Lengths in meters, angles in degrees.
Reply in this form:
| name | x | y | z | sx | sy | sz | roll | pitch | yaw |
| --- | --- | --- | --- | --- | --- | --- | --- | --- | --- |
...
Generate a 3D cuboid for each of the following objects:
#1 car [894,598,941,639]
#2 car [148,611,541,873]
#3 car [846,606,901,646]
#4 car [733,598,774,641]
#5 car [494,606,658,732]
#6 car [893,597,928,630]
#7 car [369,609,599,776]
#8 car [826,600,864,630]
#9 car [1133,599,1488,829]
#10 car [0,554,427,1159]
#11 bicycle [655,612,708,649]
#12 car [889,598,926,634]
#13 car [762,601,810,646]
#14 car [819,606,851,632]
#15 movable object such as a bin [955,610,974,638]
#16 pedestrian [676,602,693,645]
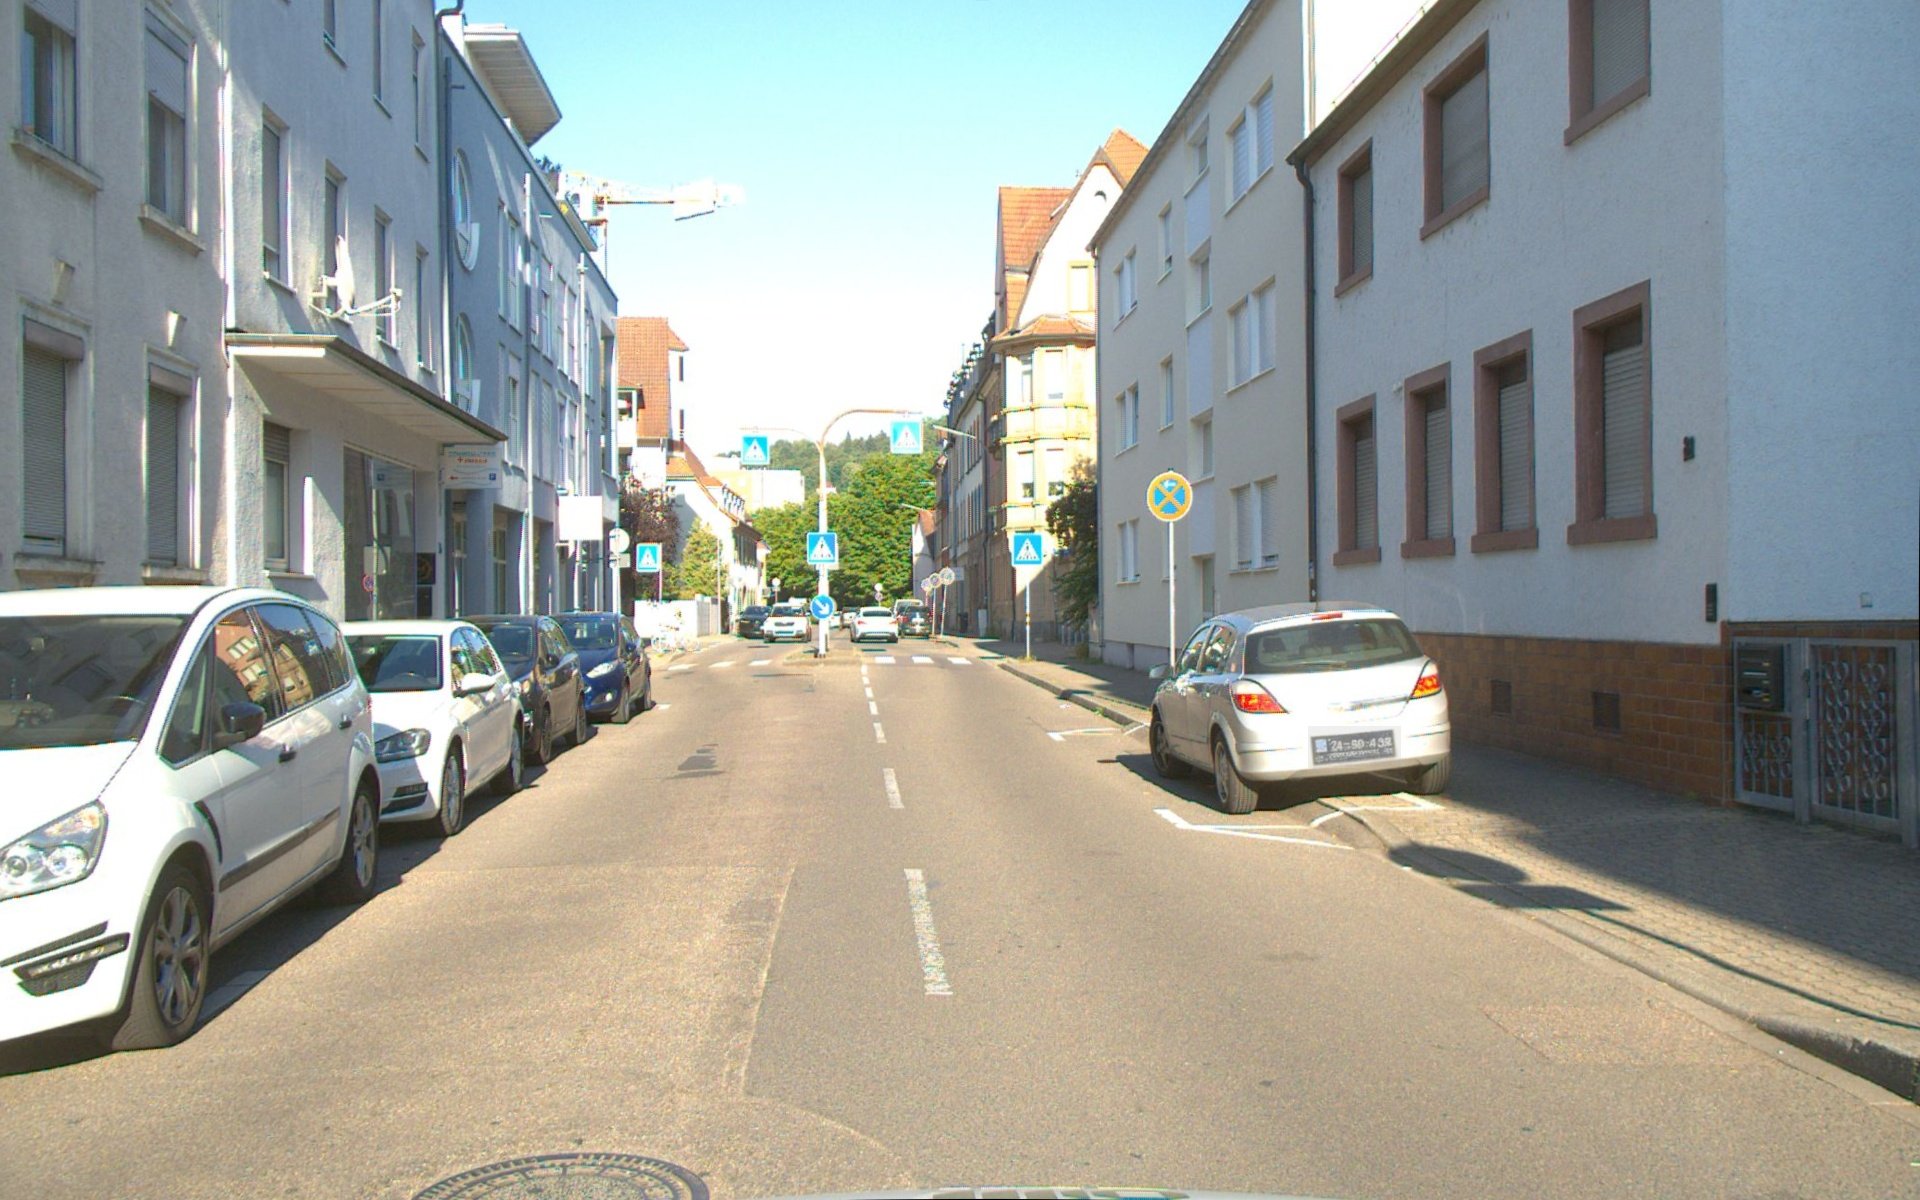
| name | x | y | z | sx | sy | sz | roll | pitch | yaw |
| --- | --- | --- | --- | --- | --- | --- | --- | --- | --- |
| car | -2.036 | 0.841 | 78.141 | 1.972 | 1.885 | 3.995 | 0 | 0 | -5 |
| car | -4.404 | 0.902 | 12.514 | 1.731 | 1.521 | 4.121 | -3 | 0 | -6 |
| car | -3.522 | 1.033 | 66.990 | 1.955 | 1.492 | 3.994 | -1 | 0 | -7 |
| car | -10.313 | 0.951 | 82.861 | 1.955 | 2.049 | 3.995 | -1 | 0 | -6 |
| car | -5.316 | 0.895 | 23.337 | 1.697 | 1.525 | 3.955 | -1 | 1 | -5 |
| car | -2.667 | 0.720 | 89.617 | 1.781 | 1.659 | 3.999 | -2 | 0 | -2 |
| car | -4.955 | 0.888 | 17.680 | 1.628 | 1.553 | 3.805 | 0 | 0 | -5 |
| car | -8.009 | 1.036 | 114.854 | 1.960 | 2.049 | 3.986 | -1 | 0 | -14 |
| car | 2.682 | 0.799 | 13.741 | 1.707 | 1.518 | 4.435 | -3 | 0 | -4 |
| car | -3.801 | 0.720 | 7.055 | 1.956 | 1.676 | 5.213 | 0 | 0 | -7 |
| bicycle | -9.671 | 1.059 | 57.476 | 1.751 | 1.205 | 0.598 | -1 | 0 | -4 |
| car | -3.037 | 0.890 | 94.522 | 1.805 | 1.939 | 3.996 | -2 | 0 | -5 |
| car | -7.278 | 1.009 | 68.742 | 1.773 | 1.731 | 4.184 | -3 | -1 | -8 |
| car | -10.454 | 1.553 | 137.781 | 1.960 | 2.049 | 3.984 | -1 | 0 | -15 |
| movable object such as a bin | 0.251 | 1.292 | 89.281 | 0.855 | 1.401 | 0.684 | -3 | 1 | -8 |
| pedestrian | -9.646 | 0.827 | 57.886 | 0.546 | 1.498 | 0.600 | -1 | 0 | -8 |
